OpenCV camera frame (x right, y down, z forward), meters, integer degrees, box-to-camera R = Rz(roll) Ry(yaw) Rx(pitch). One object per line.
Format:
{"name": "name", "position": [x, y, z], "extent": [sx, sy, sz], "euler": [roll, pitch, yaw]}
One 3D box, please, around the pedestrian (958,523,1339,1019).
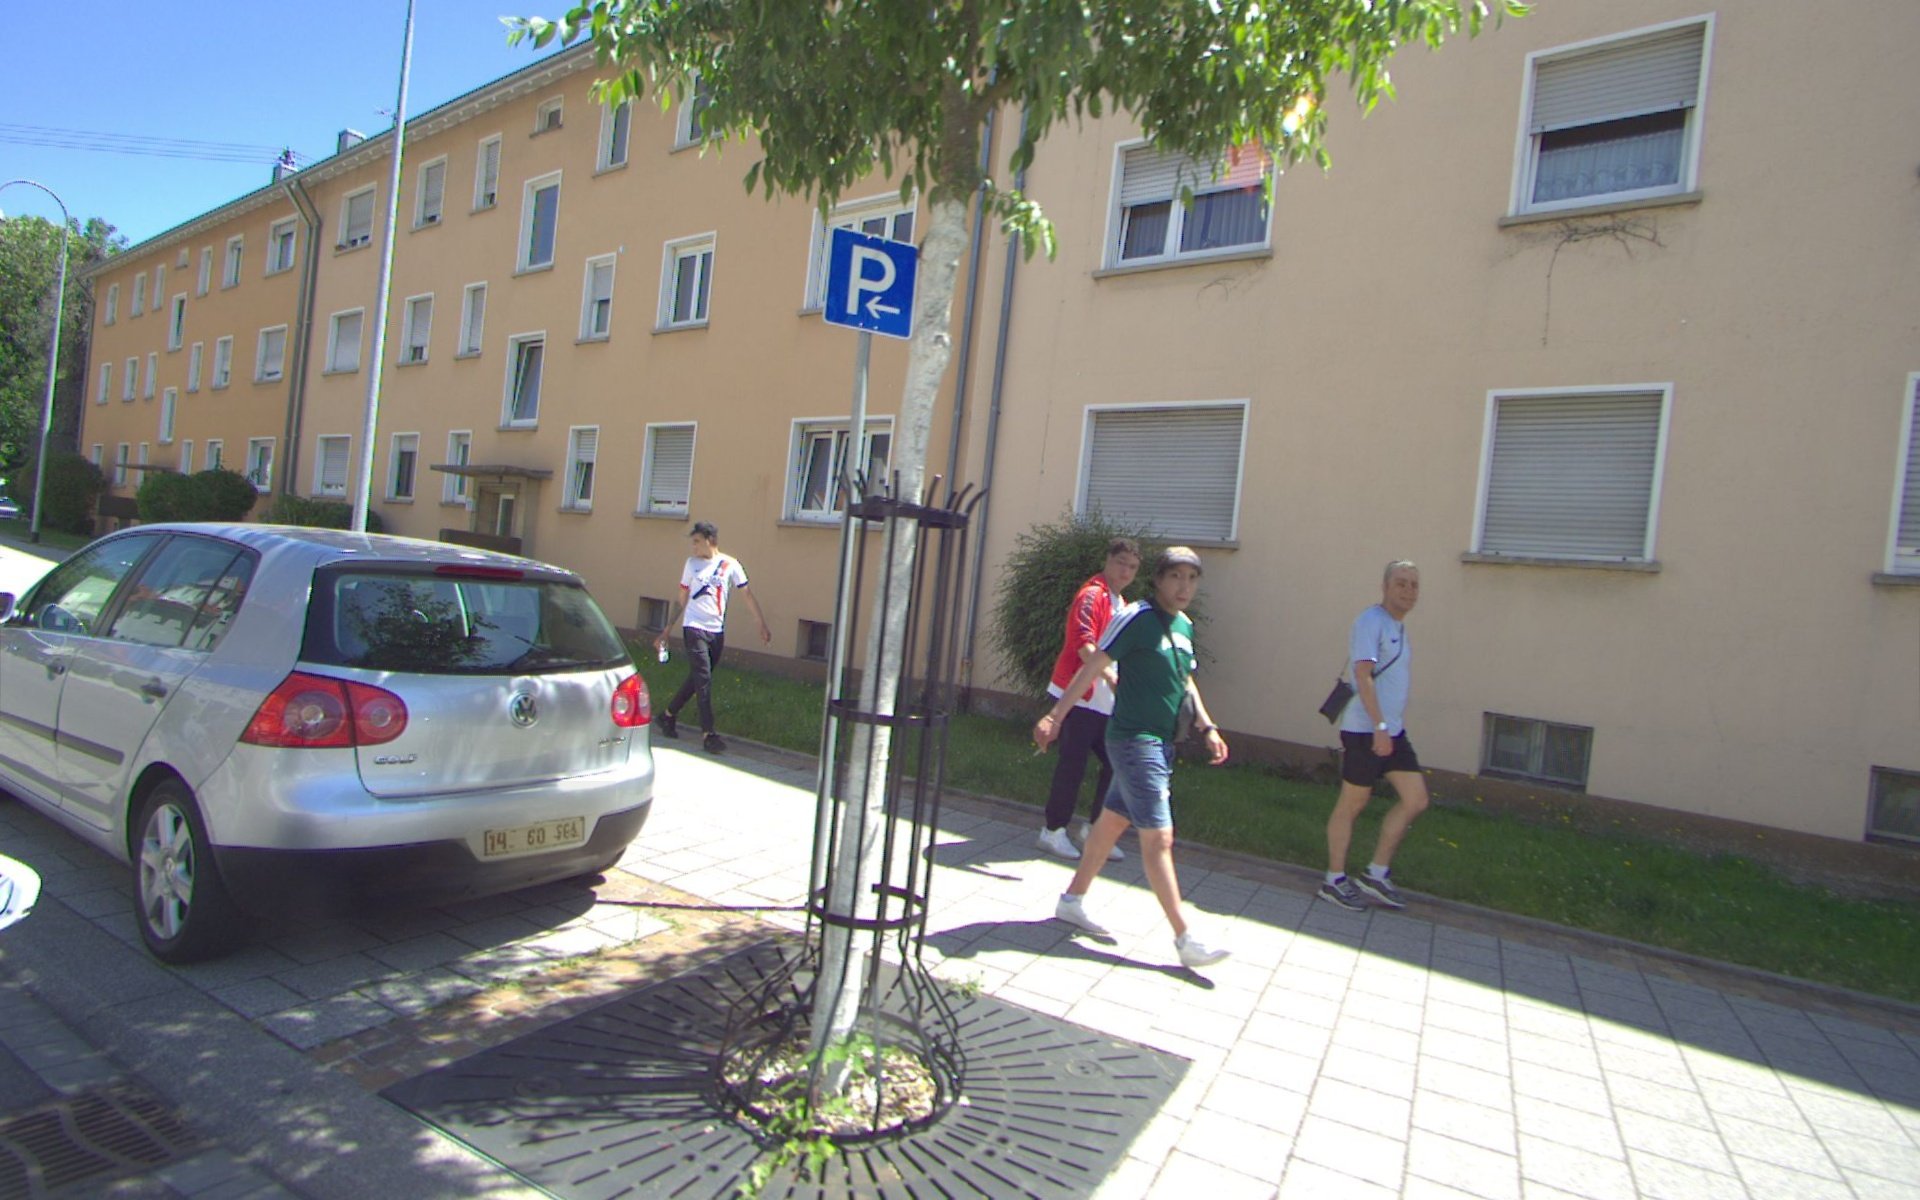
{"name": "pedestrian", "position": [0.859, 0.617, 4.434], "extent": [1.172, 1.756, 1.171], "euler": [6, 2, 32]}

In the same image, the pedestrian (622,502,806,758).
{"name": "pedestrian", "position": [-1.966, 0.228, 8.061], "extent": [0.968, 1.876, 0.821], "euler": [6, 1, 33]}

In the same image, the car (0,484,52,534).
{"name": "car", "position": [-41.479, -4.072, 42.366], "extent": [1.720, 1.859, 4.349], "euler": [6, -2, 28]}

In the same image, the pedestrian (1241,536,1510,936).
{"name": "pedestrian", "position": [2.178, 0.643, 5.253], "extent": [0.992, 1.801, 0.794], "euler": [7, 1, 33]}

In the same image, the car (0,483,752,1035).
{"name": "car", "position": [-3.292, 0.340, 4.765], "extent": [4.434, 1.495, 1.814], "euler": [6, 0, 33]}

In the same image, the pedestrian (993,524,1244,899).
{"name": "pedestrian", "position": [0.888, 0.558, 5.619], "extent": [0.990, 1.835, 0.787], "euler": [7, 3, 33]}
